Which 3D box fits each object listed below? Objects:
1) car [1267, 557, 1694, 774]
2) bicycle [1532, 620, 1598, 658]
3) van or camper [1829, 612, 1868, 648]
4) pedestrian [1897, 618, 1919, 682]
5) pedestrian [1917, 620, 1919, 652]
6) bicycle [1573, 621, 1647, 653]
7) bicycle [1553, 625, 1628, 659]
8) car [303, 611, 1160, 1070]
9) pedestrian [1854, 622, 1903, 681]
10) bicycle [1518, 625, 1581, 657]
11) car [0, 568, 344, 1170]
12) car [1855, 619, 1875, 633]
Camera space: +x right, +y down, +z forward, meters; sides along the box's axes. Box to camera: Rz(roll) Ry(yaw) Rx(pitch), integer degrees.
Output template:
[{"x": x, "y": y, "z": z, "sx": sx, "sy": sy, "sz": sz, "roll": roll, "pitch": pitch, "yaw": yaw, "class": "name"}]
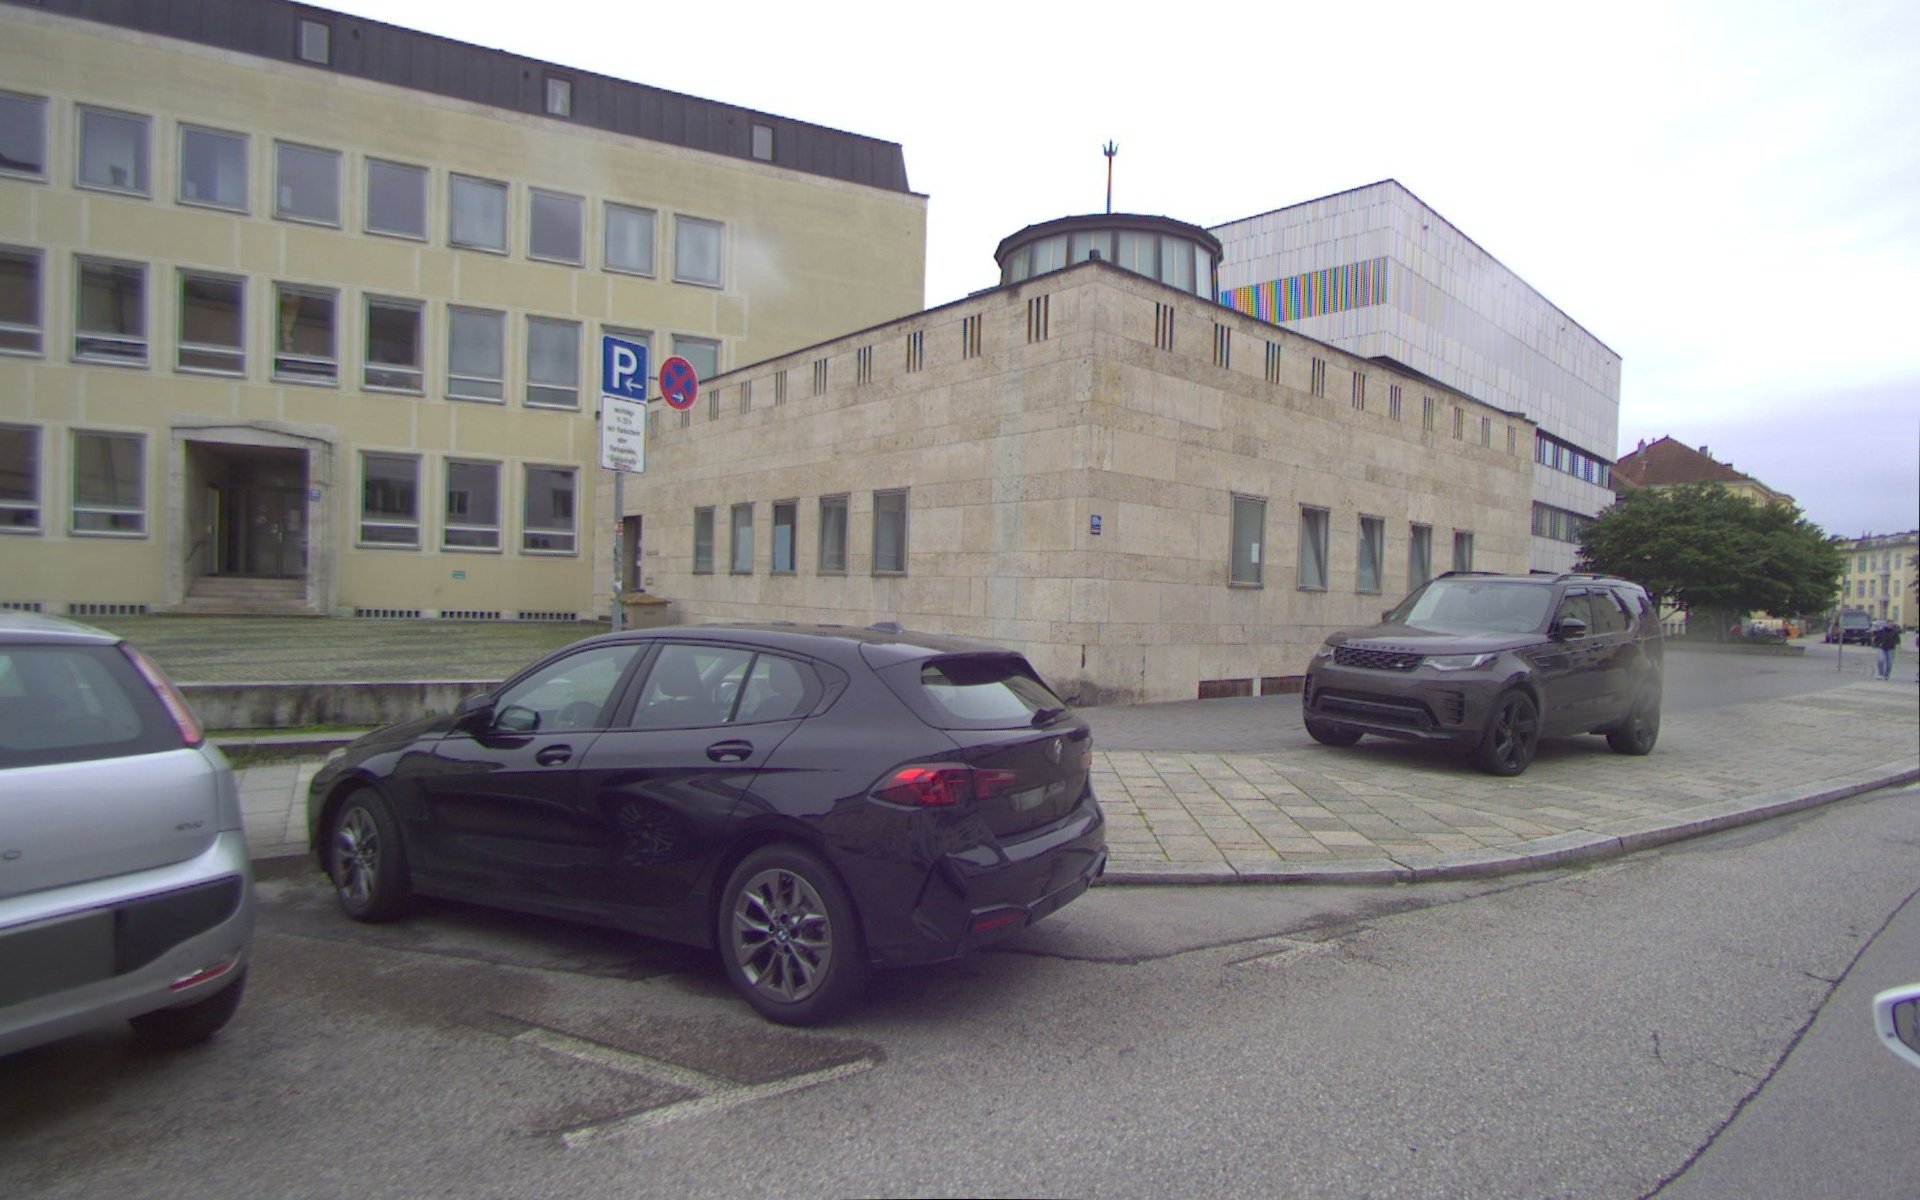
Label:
[{"x": 5.551, "y": 0.567, "z": 10.449, "sx": 4.841, "sy": 1.759, "sz": 2.036, "roll": 2, "pitch": 1, "yaw": -37, "class": "car"}, {"x": 19.870, "y": 1.260, "z": 33.006, "sx": 1.705, "sy": 1.046, "sz": 0.526, "roll": 7, "pitch": 4, "yaw": 38, "class": "bicycle"}, {"x": 68.489, "y": 2.260, "z": 77.410, "sx": 2.074, "sy": 2.585, "sz": 4.744, "roll": 3, "pitch": 1, "yaw": 42, "class": "van or camper"}, {"x": 27.237, "y": 1.416, "z": 28.513, "sx": 0.912, "sy": 1.792, "sz": 0.730, "roll": 1, "pitch": 1, "yaw": -37, "class": "pedestrian"}, {"x": 44.583, "y": 1.662, "z": 46.366, "sx": 0.439, "sy": 1.480, "sz": 0.458, "roll": 3, "pitch": 1, "yaw": -39, "class": "pedestrian"}, {"x": 23.345, "y": 1.326, "z": 36.091, "sx": 2.089, "sy": 0.890, "sz": 0.825, "roll": 7, "pitch": 4, "yaw": 40, "class": "bicycle"}, {"x": 21.254, "y": 1.413, "z": 33.906, "sx": 2.006, "sy": 0.898, "sz": 0.672, "roll": 7, "pitch": 4, "yaw": 40, "class": "bicycle"}, {"x": -1.190, "y": 0.812, "z": 4.989, "sx": 3.925, "sy": 1.440, "sz": 1.811, "roll": 0, "pitch": -1, "yaw": 29, "class": "car"}, {"x": 26.759, "y": 1.479, "z": 29.266, "sx": 0.910, "sy": 1.651, "sz": 0.757, "roll": 1, "pitch": 1, "yaw": -30, "class": "pedestrian"}, {"x": 18.898, "y": 1.304, "z": 32.234, "sx": 1.625, "sy": 0.808, "sz": 0.526, "roll": 7, "pitch": 4, "yaw": 38, "class": "bicycle"}, {"x": -4.066, "y": 0.676, "z": 3.459, "sx": 3.741, "sy": 1.527, "sz": 1.712, "roll": 0, "pitch": -1, "yaw": 30, "class": "car"}, {"x": 106.213, "y": 3.078, "z": 117.888, "sx": 1.615, "sy": 1.503, "sz": 3.589, "roll": 3, "pitch": 1, "yaw": 44, "class": "car"}]
